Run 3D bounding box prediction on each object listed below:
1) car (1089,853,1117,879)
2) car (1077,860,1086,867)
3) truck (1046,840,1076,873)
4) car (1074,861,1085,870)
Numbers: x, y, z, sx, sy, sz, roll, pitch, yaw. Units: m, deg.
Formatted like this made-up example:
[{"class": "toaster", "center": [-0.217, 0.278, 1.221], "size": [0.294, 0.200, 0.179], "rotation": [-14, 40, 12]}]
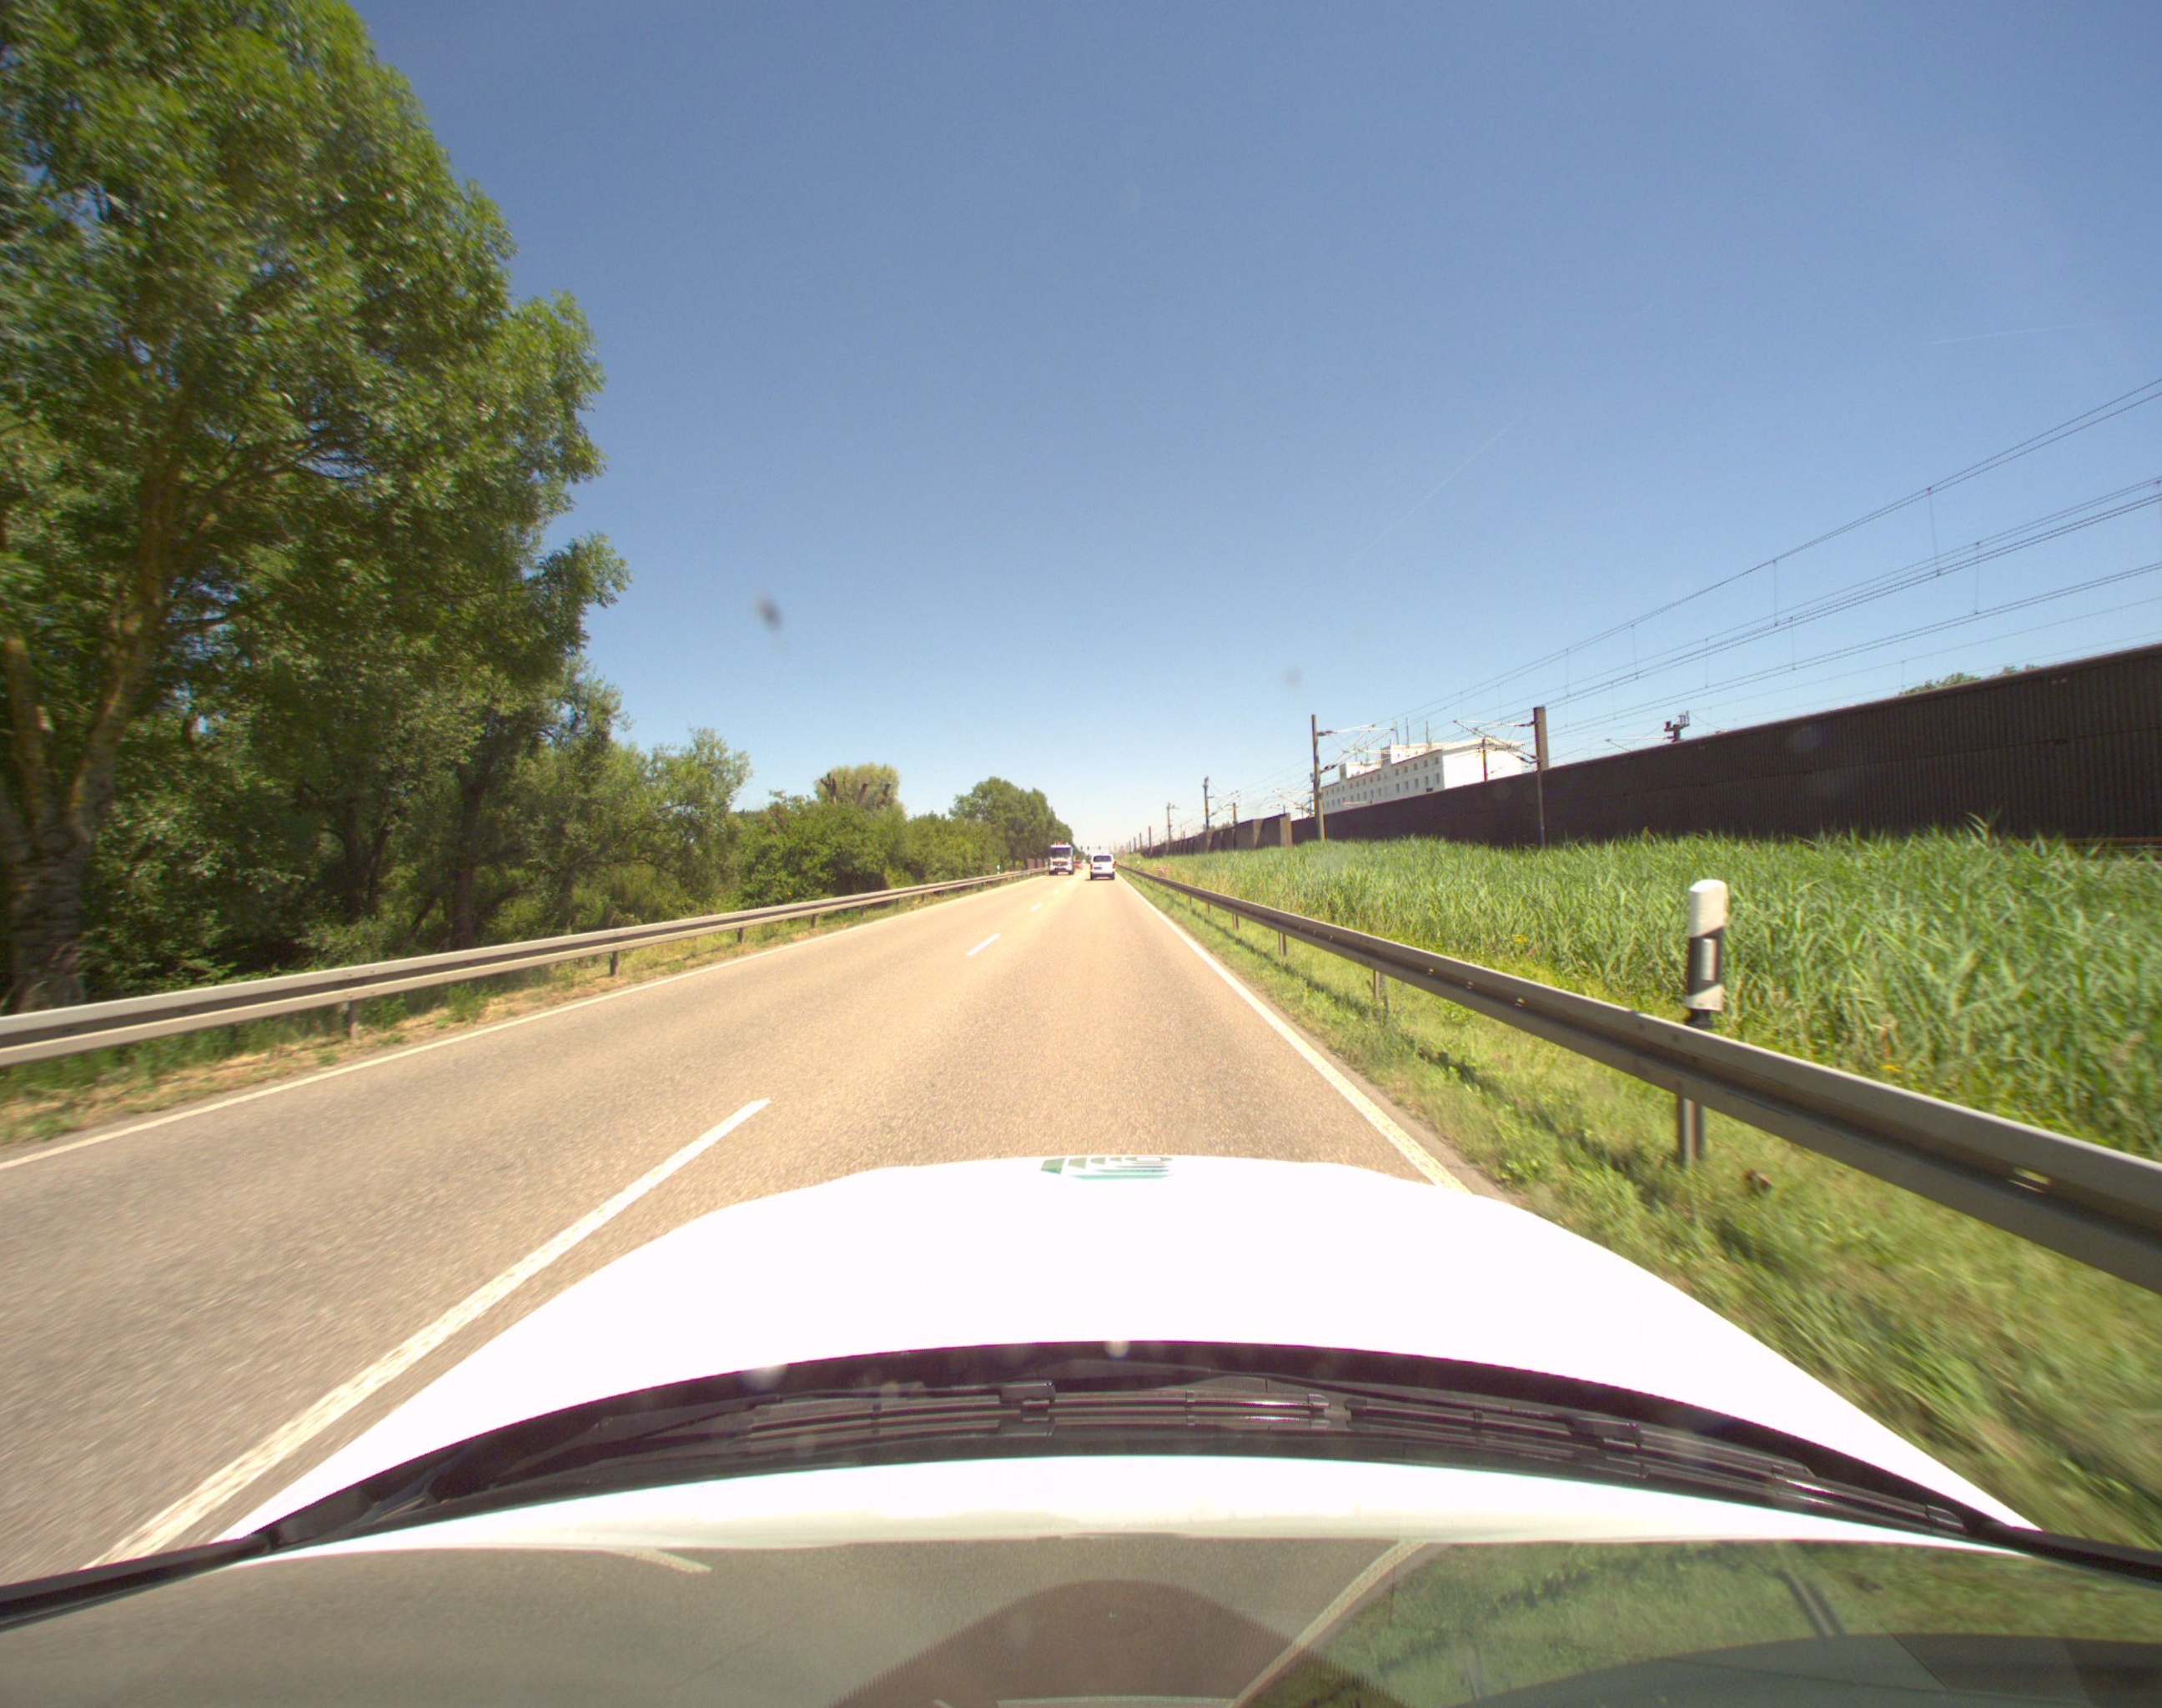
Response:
[{"class": "car", "center": [1.665, 0.886, 61.532], "size": [1.986, 1.850, 4.001], "rotation": [-1, 0, 1]}, {"class": "car", "center": [0.076, 2.008, 177.734], "size": [1.782, 1.525, 4.392], "rotation": [-2, 0, 2]}, {"class": "truck", "center": [-2.051, 0.277, 87.132], "size": [2.774, 3.405, 7.990], "rotation": [-1, 0, 1]}, {"class": "car", "center": [-0.249, 1.908, 135.727], "size": [1.785, 1.421, 3.997], "rotation": [-2, 0, -2]}]
